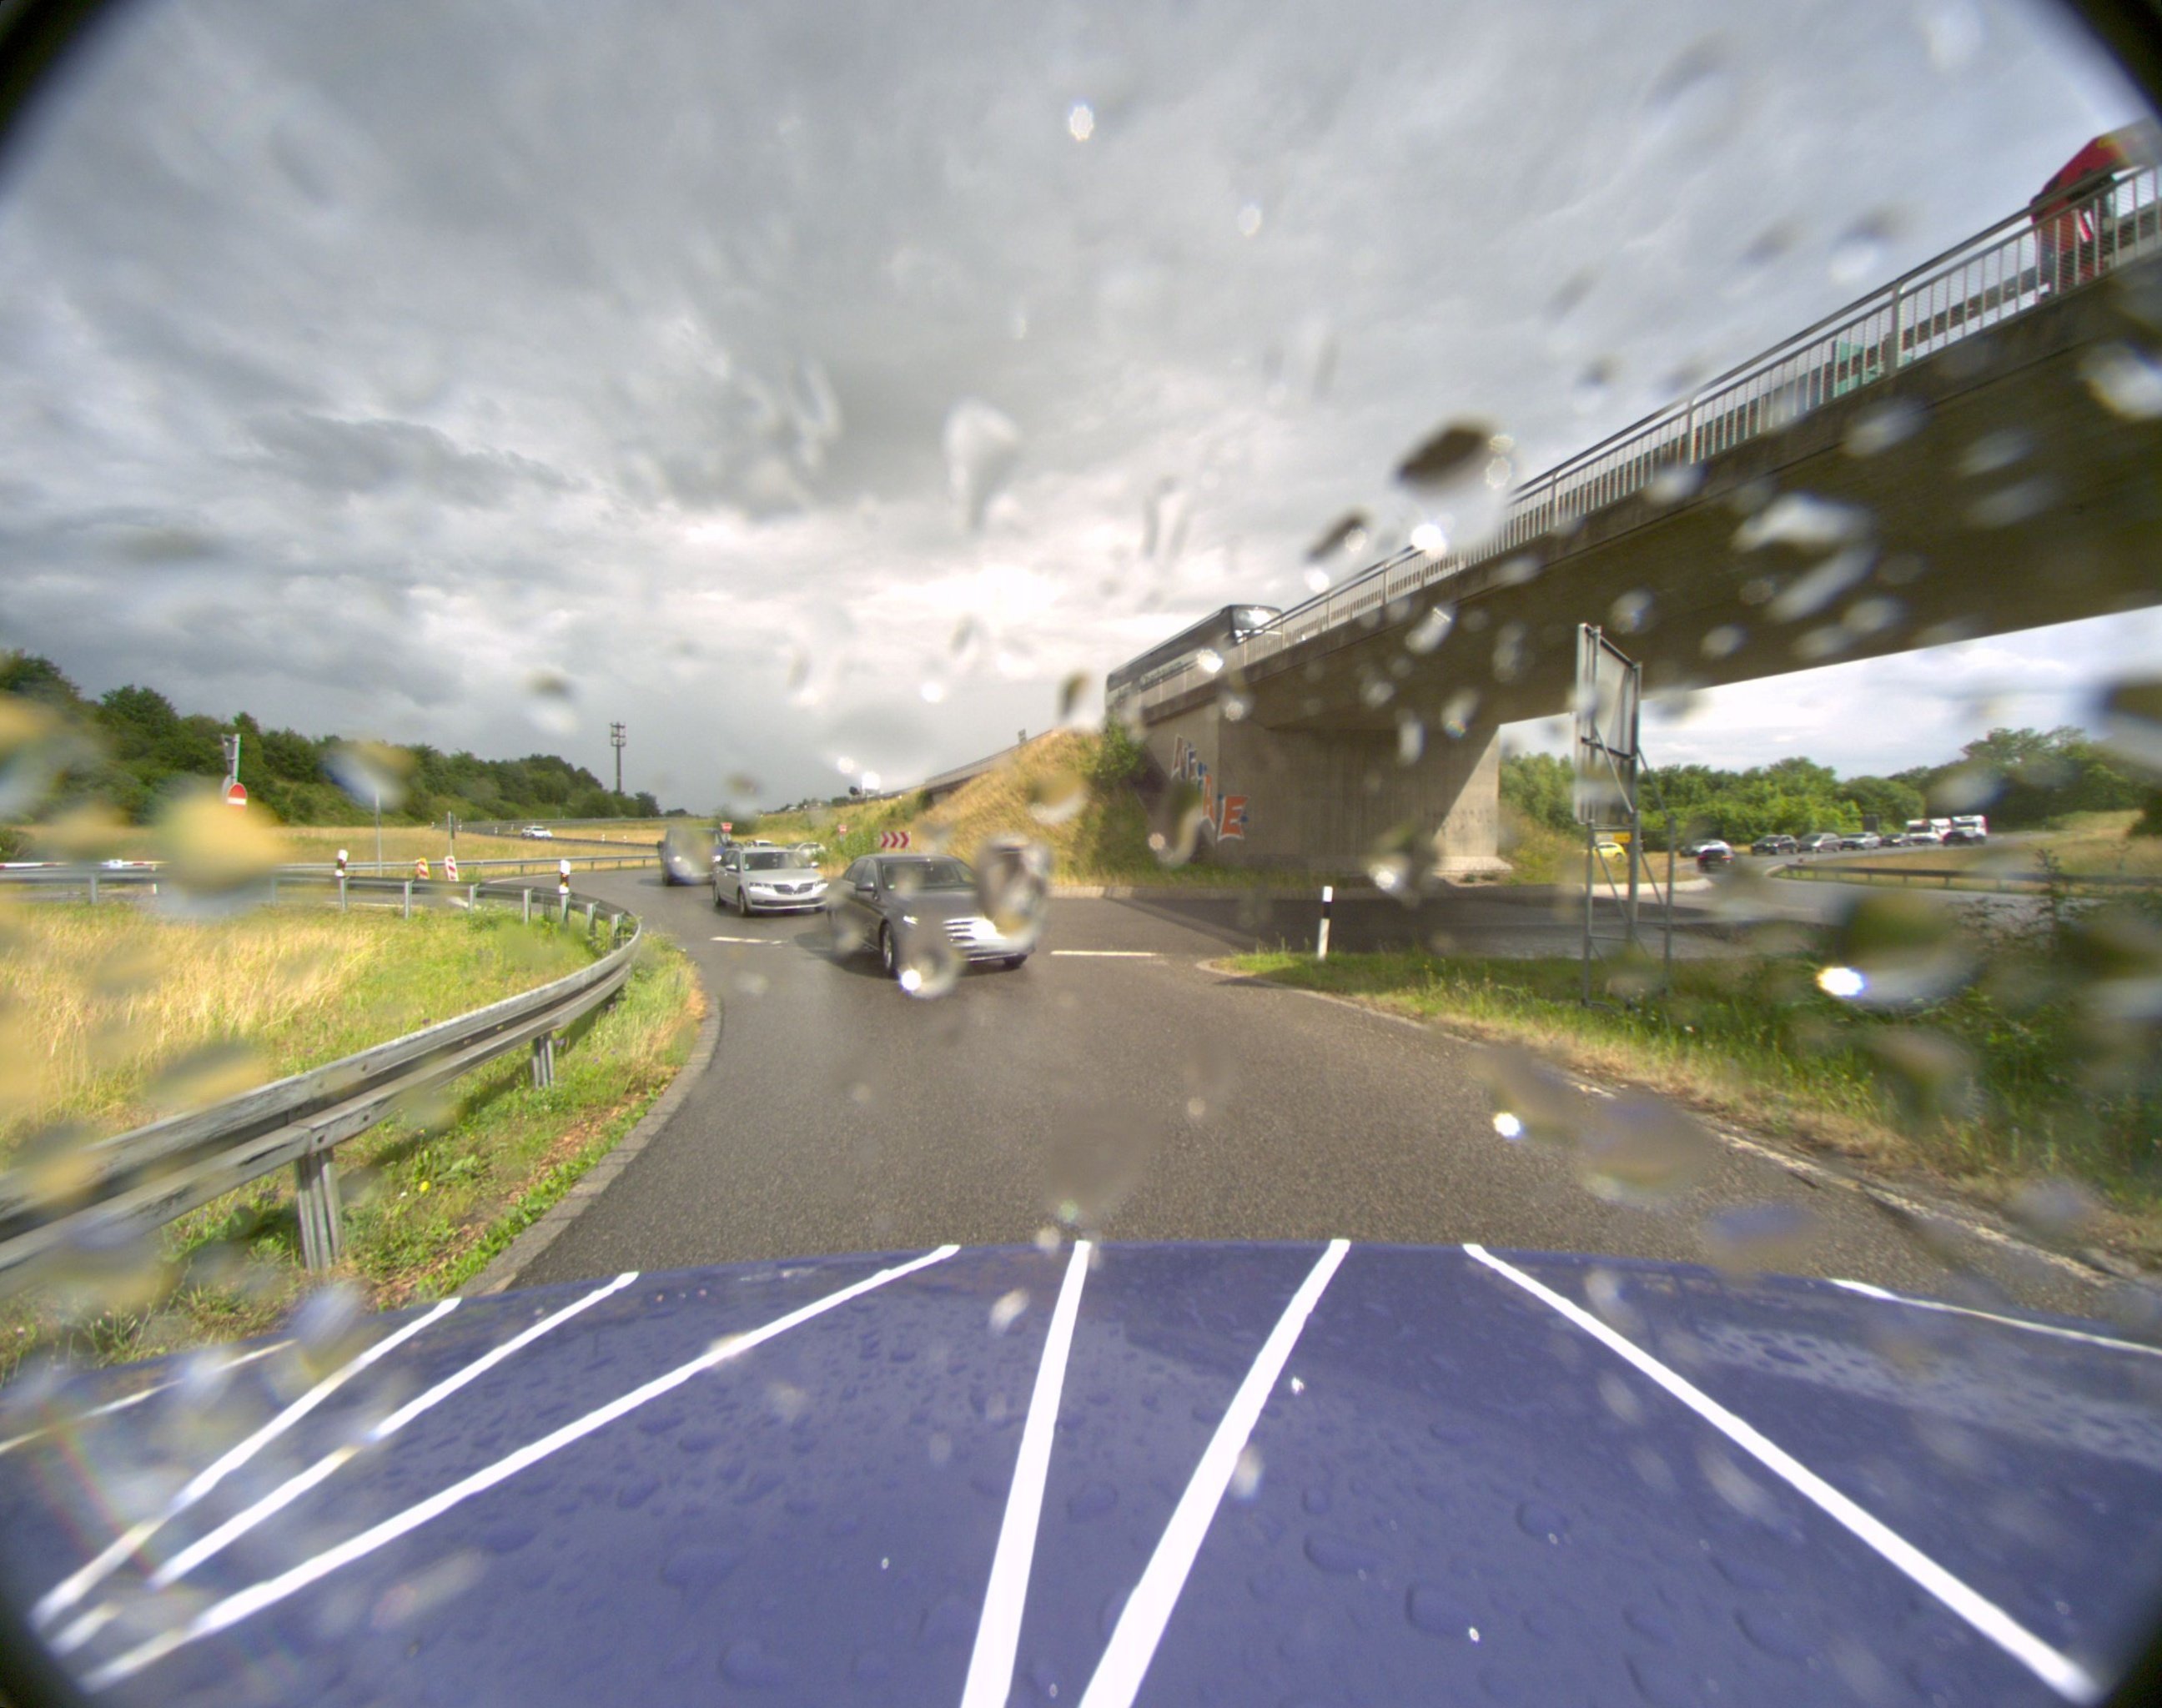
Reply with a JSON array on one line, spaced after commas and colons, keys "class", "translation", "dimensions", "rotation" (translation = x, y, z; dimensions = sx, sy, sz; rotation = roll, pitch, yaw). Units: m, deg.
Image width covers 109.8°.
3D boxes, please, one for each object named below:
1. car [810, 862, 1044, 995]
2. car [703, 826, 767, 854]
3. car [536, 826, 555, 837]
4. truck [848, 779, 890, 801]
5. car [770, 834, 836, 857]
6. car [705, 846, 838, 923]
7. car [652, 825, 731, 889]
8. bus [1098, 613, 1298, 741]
[{"class": "car", "translation": [-2.433, 0.859, 10.895], "dimensions": [1.774, 1.383, 4.579], "rotation": [-1, 1, -32]}, {"class": "car", "translation": [-19.813, -0.792, 43.692], "dimensions": [1.570, 1.528, 3.930], "rotation": [1, 1, 6]}, {"class": "car", "translation": [-62.781, -2.638, 89.099], "dimensions": [1.715, 1.283, 3.763], "rotation": [-1, 2, -36]}, {"class": "truck", "translation": [-34.533, -10.381, 123.489], "dimensions": [3.166, 3.177, 9.252], "rotation": [-3, 4, -37]}, {"class": "car", "translation": [-18.542, -0.572, 50.767], "dimensions": [1.613, 1.466, 3.854], "rotation": [2, 3, 42]}, {"class": "car", "translation": [-7.098, 0.576, 17.171], "dimensions": [1.801, 1.391, 4.336], "rotation": [-2, 3, -35]}, {"class": "car", "translation": [-13.619, 0.001, 26.356], "dimensions": [1.897, 1.905, 5.665], "rotation": [-1, 3, -32]}, {"class": "bus", "translation": [4.506, -7.439, 34.623], "dimensions": [2.615, 3.063, 14.434], "rotation": [-2, 3, -19]}]
